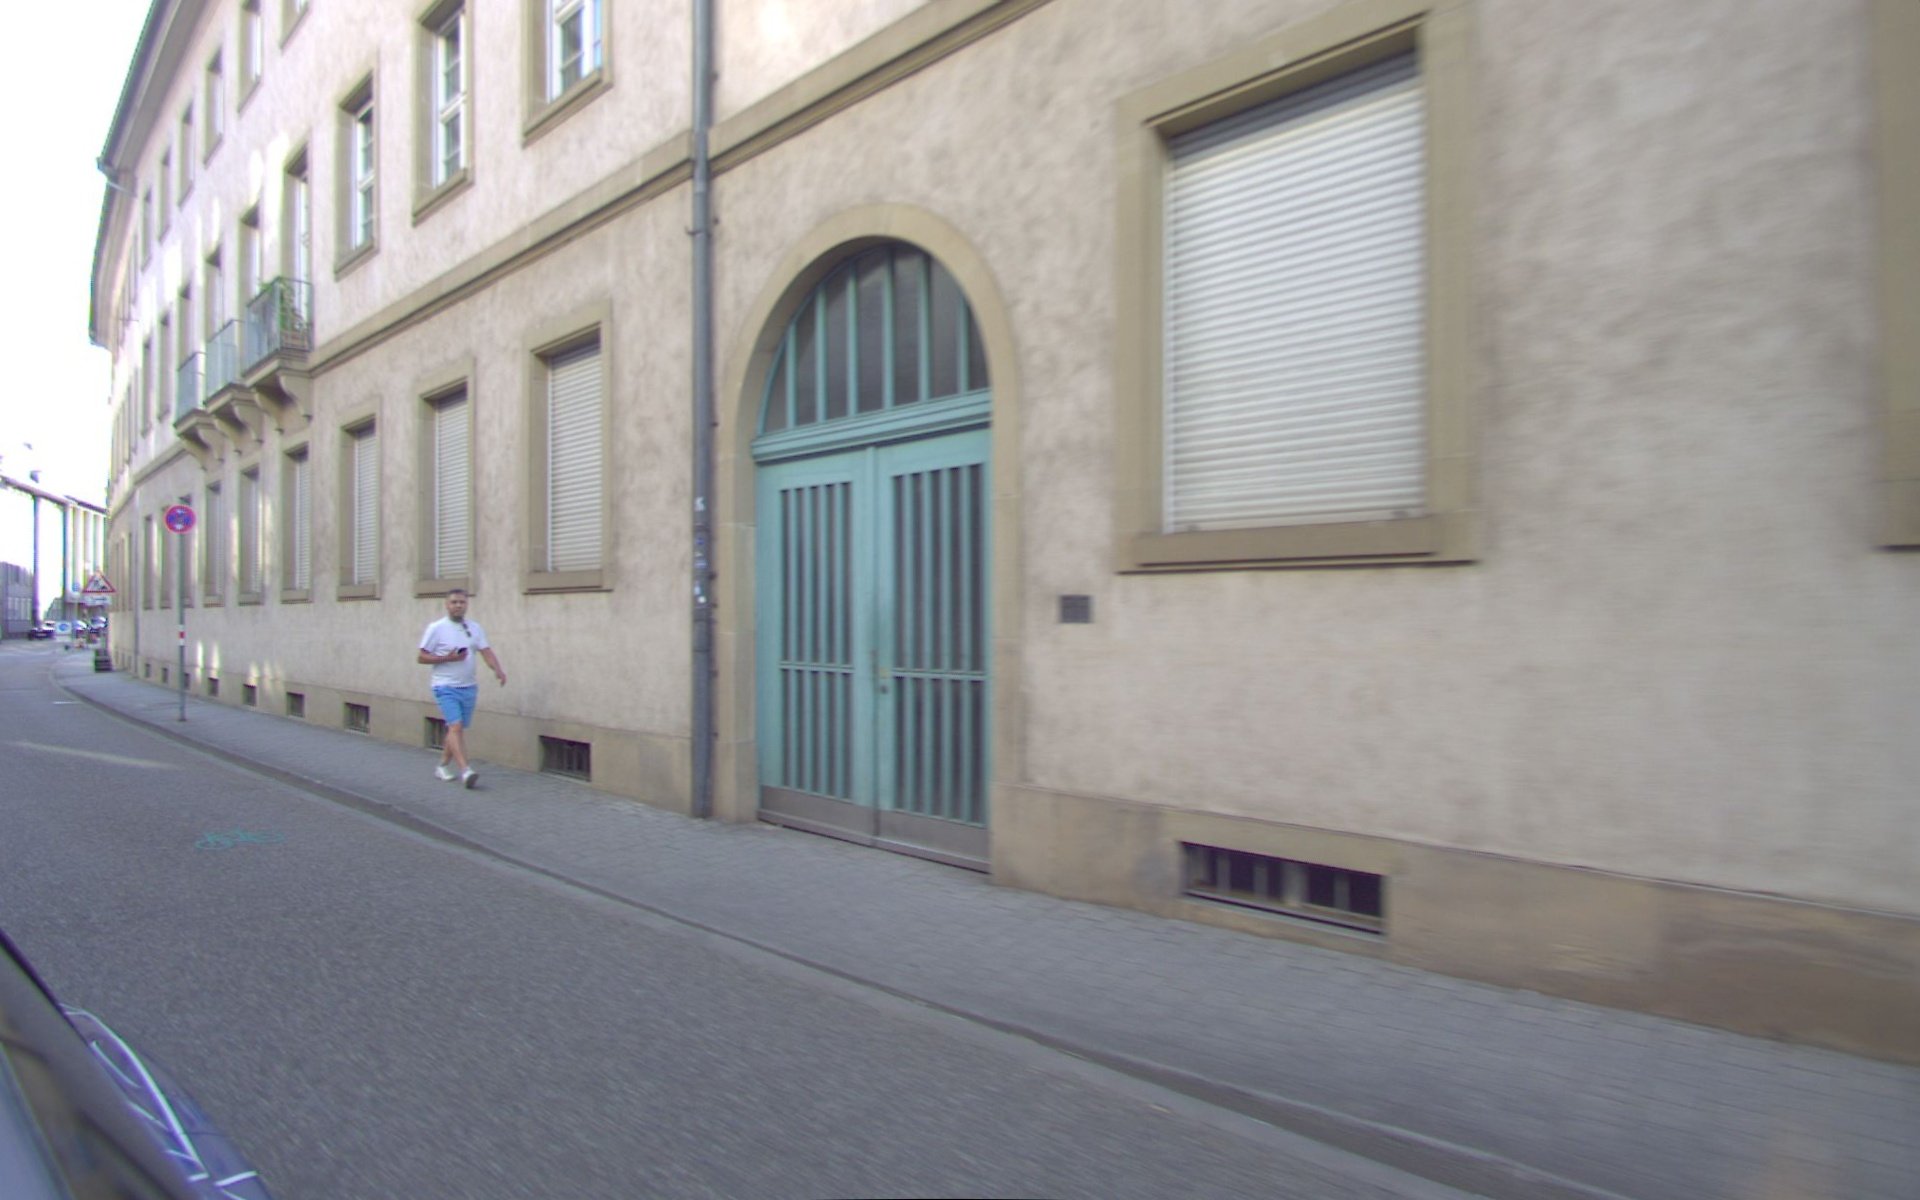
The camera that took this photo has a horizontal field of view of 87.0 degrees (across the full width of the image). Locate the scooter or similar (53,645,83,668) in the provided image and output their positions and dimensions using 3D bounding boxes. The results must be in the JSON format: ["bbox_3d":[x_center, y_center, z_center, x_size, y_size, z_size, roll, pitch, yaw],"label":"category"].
[{"bbox_3d":[-47.733,3.022,54.168,0.461,1.234,1.300,0,-3,-1],"label":"scooter or similar"}]

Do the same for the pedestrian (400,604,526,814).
[{"bbox_3d":[-4.315,0.895,8.777,0.875,1.682,0.685,-2,0,43],"label":"pedestrian"}]

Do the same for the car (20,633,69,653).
[{"bbox_3d":[-69.647,3.252,77.051,1.933,1.418,4.209,-1,0,-31],"label":"car"}]

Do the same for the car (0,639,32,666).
[{"bbox_3d":[-63.800,3.527,67.747,1.747,1.595,3.867,-5,1,-33],"label":"car"}]

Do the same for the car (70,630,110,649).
[{"bbox_3d":[-75.705,3.398,88.108,1.933,1.547,4.209,-1,0,-31],"label":"car"}]

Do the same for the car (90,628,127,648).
[{"bbox_3d":[-79.420,3.514,94.441,1.933,1.659,4.209,-1,0,-31],"label":"car"}]
